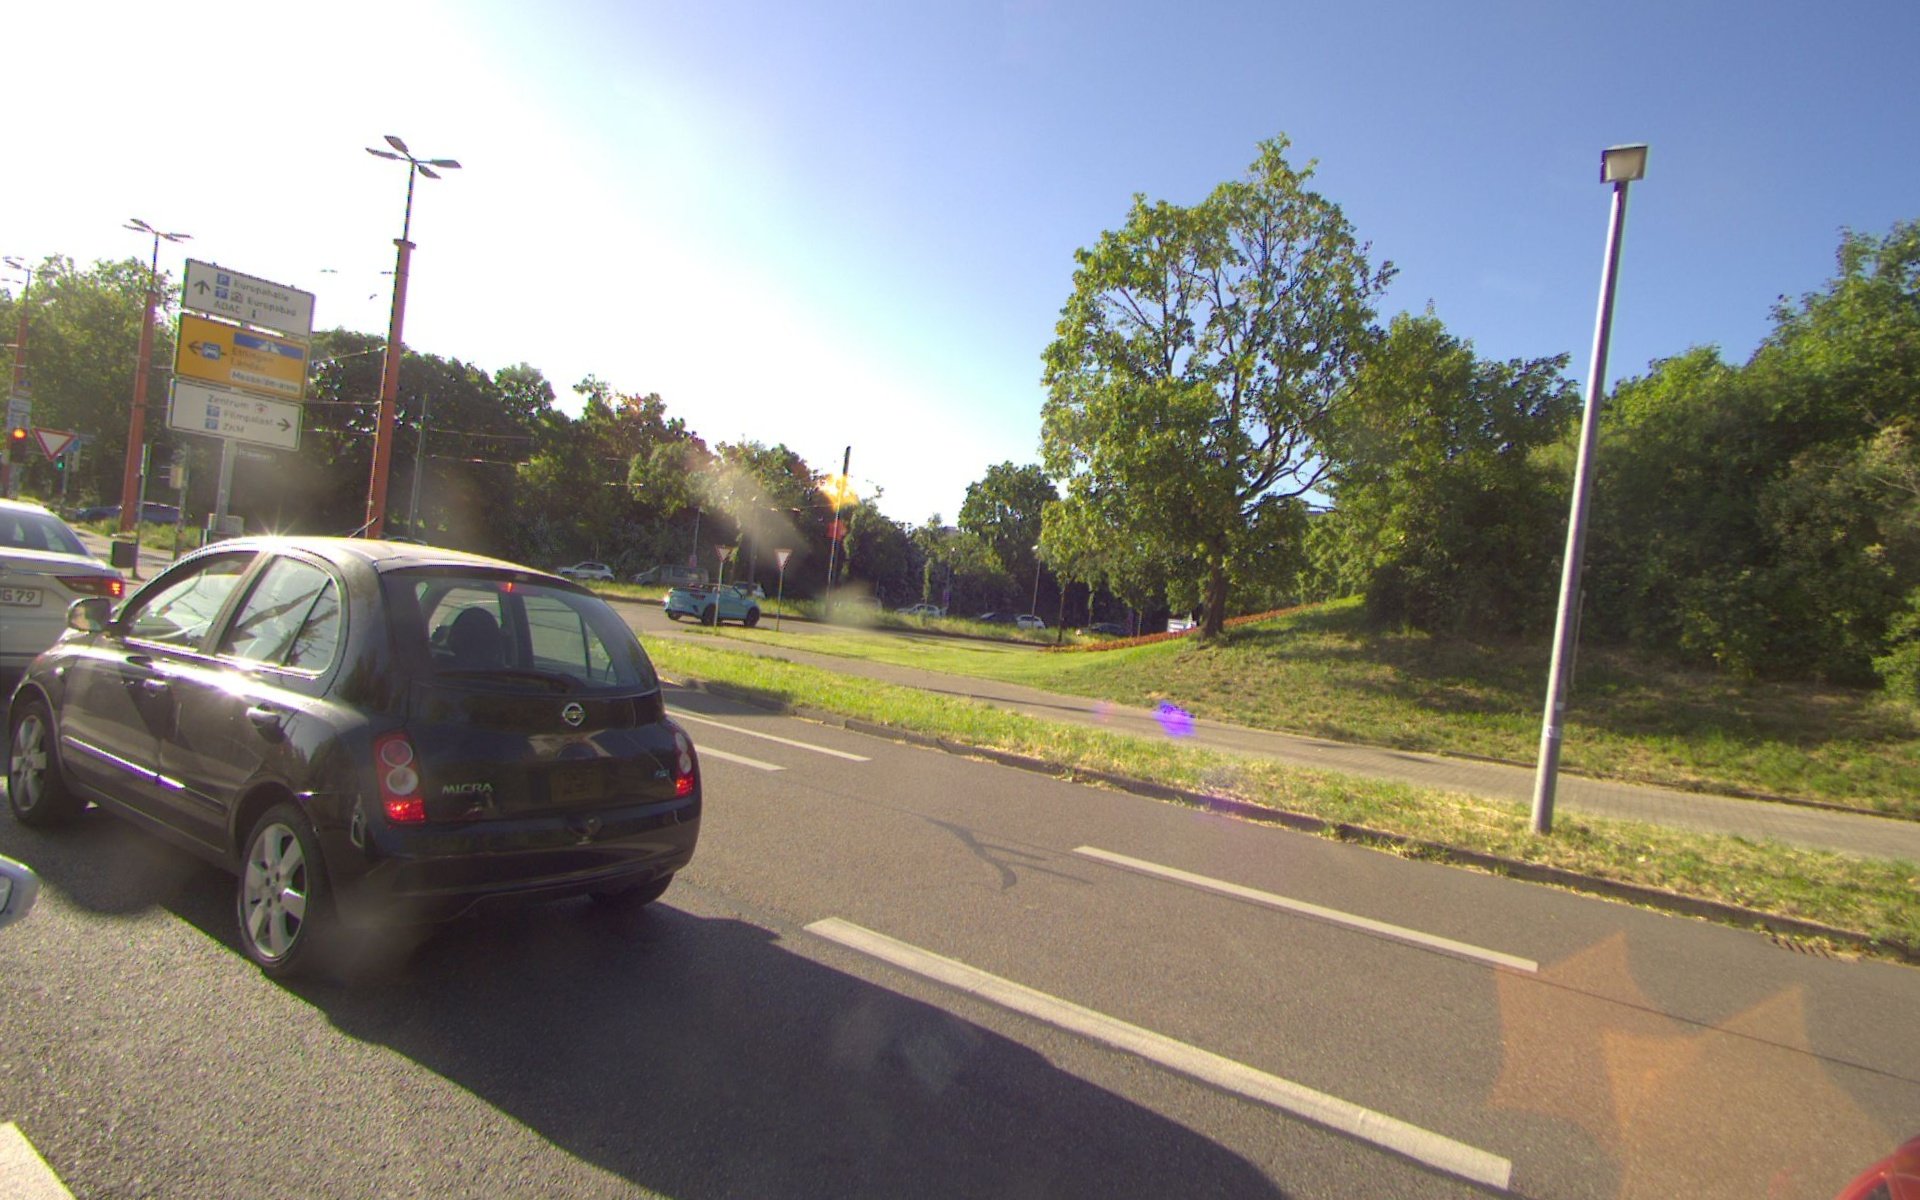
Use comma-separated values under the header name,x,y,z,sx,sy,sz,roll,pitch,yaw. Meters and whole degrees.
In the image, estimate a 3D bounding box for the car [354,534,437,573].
name,x,y,z,sx,sy,sz,roll,pitch,yaw
car,-30.908,-2.533,55.132,3.791,1.541,1.682,8,-1,-31

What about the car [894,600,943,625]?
name,x,y,z,sx,sy,sz,roll,pitch,yaw
car,-3.096,0.973,75.613,3.413,1.384,1.280,9,-2,-31

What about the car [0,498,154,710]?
name,x,y,z,sx,sy,sz,roll,pitch,yaw
car,-8.357,-0.171,8.025,4.130,1.454,1.723,7,-1,33

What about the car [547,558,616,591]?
name,x,y,z,sx,sy,sz,roll,pitch,yaw
car,-23.760,-1.596,63.110,3.710,1.491,1.587,8,-1,-32

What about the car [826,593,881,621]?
name,x,y,z,sx,sy,sz,roll,pitch,yaw
car,-7.313,0.497,69.413,3.369,1.475,1.453,8,-1,-31

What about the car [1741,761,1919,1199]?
name,x,y,z,sx,sy,sz,roll,pitch,yaw
car,3.054,1.201,0.752,3.700,1.455,1.644,6,-2,33

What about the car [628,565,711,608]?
name,x,y,z,sx,sy,sz,roll,pitch,yaw
car,-18.197,-0.846,62.997,4.533,2.038,1.986,8,0,-28

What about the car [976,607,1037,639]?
name,x,y,z,sx,sy,sz,roll,pitch,yaw
car,3.472,1.726,74.234,3.960,1.776,1.903,9,-2,-31

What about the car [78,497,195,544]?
name,x,y,z,sx,sy,sz,roll,pitch,yaw
car,-40.367,-3.873,49.439,4.089,1.617,1.814,8,-1,-31

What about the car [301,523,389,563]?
name,x,y,z,sx,sy,sz,roll,pitch,yaw
car,-35.013,-3.206,57.407,4.090,1.663,1.838,8,-1,-31

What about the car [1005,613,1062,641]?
name,x,y,z,sx,sy,sz,roll,pitch,yaw
car,5.876,2.201,80.794,4.195,1.701,1.690,8,-1,-29

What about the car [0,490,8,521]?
name,x,y,z,sx,sy,sz,roll,pitch,yaw
car,-48.457,-4.882,48.048,3.937,1.457,1.674,9,-2,-31

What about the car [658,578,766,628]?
name,x,y,z,sx,sy,sz,roll,pitch,yaw
car,-9.141,0.156,37.447,1.707,1.468,4.130,8,0,22

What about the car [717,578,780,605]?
name,x,y,z,sx,sy,sz,roll,pitch,yaw
car,-14.505,-0.594,68.962,3.804,1.278,1.590,9,-3,-32

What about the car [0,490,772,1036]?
name,x,y,z,sx,sy,sz,roll,pitch,yaw
car,-2.844,0.471,4.699,3.555,1.518,1.657,7,-2,32
